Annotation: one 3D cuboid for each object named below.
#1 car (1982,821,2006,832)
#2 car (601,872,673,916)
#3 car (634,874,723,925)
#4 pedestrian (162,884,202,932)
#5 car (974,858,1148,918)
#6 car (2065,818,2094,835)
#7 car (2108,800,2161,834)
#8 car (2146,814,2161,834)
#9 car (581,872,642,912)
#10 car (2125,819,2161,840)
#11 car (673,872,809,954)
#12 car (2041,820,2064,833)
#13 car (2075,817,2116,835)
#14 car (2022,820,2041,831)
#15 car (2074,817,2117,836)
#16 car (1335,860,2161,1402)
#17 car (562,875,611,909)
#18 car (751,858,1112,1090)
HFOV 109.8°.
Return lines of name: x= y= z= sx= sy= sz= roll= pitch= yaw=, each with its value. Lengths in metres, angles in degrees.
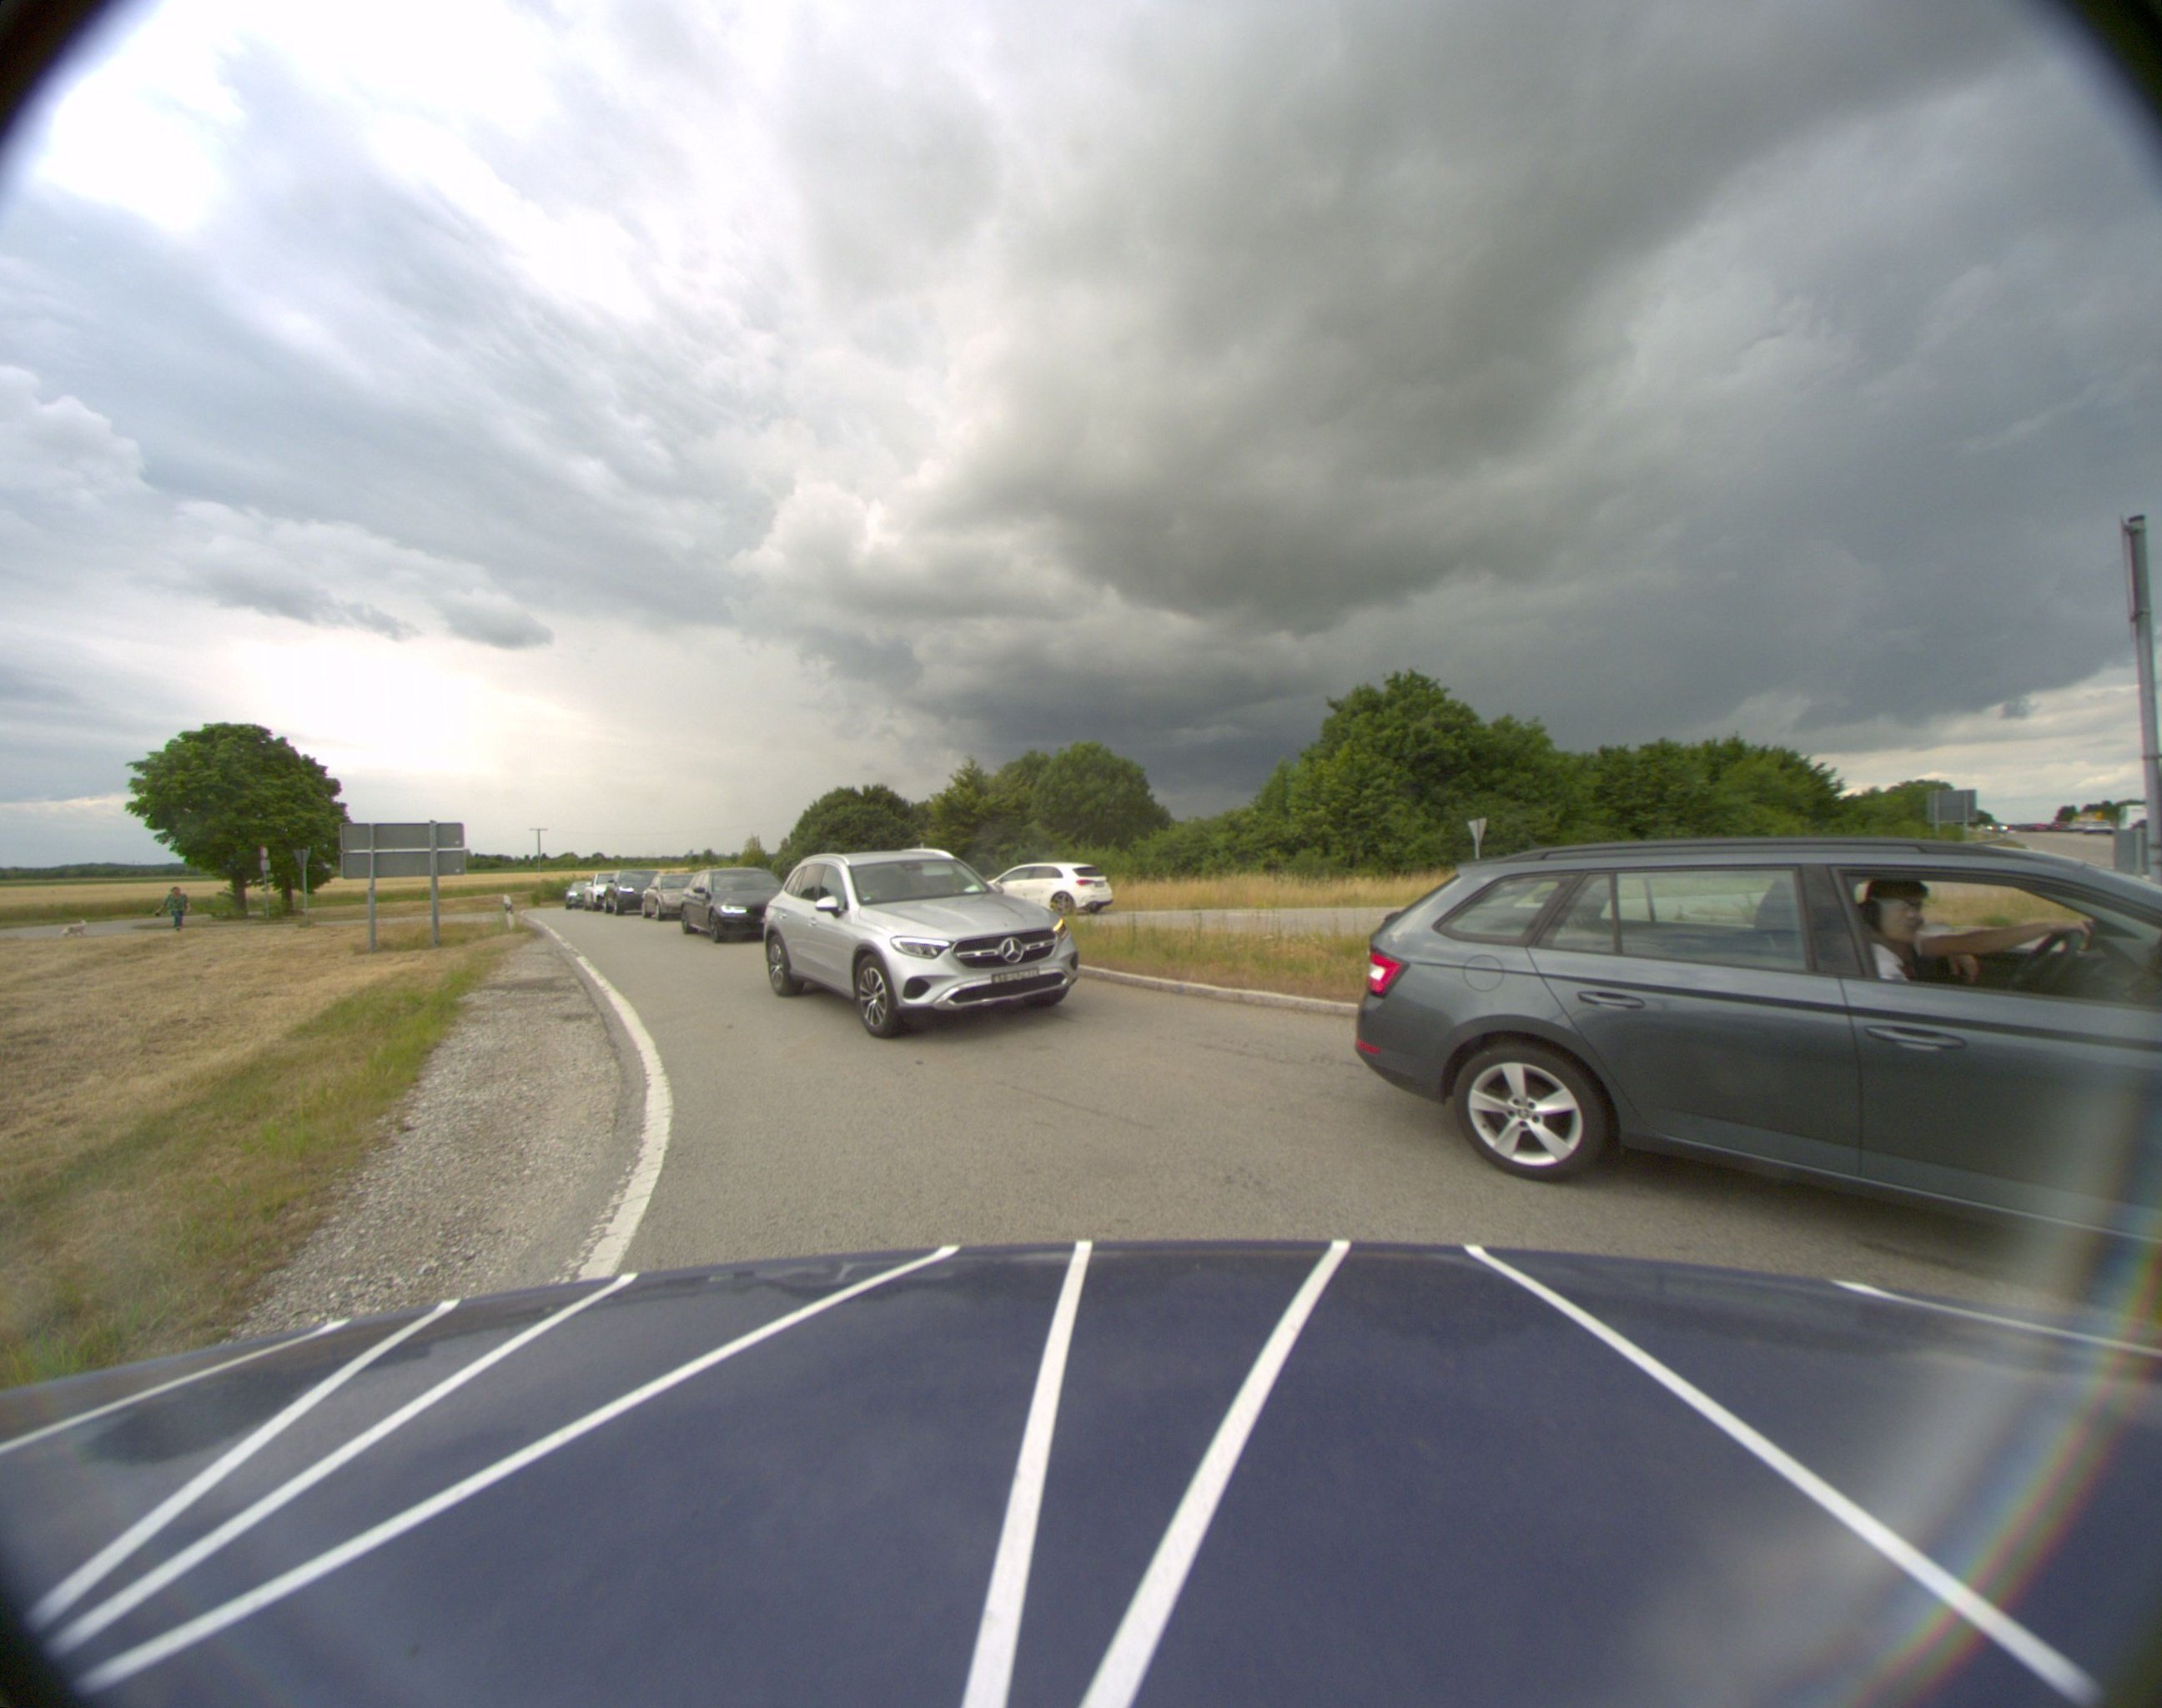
car: x=132.697 y=-3.946 z=110.457 sx=4.008 sy=1.474 sz=1.994 roll=-2 pitch=1 yaw=-42
car: x=-16.518 y=1.408 z=28.173 sx=1.725 sy=1.345 sz=4.202 roll=-4 pitch=2 yaw=-37
car: x=-12.574 y=1.341 z=23.598 sx=1.725 sy=1.345 sz=4.202 roll=-2 pitch=0 yaw=-38
pedestrian: x=-31.539 y=1.874 z=26.652 sx=0.942 sy=1.602 sz=0.775 roll=-1 pitch=1 yaw=35
car: x=-0.567 y=0.882 z=20.587 sx=4.381 sy=1.443 sz=1.775 roll=-1 pitch=1 yaw=28
car: x=124.768 y=-3.419 z=94.958 sx=4.008 sy=2.002 sz=1.792 roll=-1 pitch=0 yaw=-43
car: x=99.053 y=-3.408 z=71.430 sx=6.571 sy=3.011 sz=2.334 roll=-1 pitch=0 yaw=-42
car: x=84.299 y=-2.315 z=58.718 sx=4.008 sy=1.516 sz=1.843 roll=-1 pitch=0 yaw=-42
car: x=-20.741 y=1.620 z=33.493 sx=1.725 sy=1.486 sz=4.626 roll=-4 pitch=2 yaw=-37
car: x=90.744 y=-2.070 z=64.607 sx=4.008 sy=1.740 sz=1.853 roll=-1 pitch=1 yaw=-42
car: x=-7.506 y=1.149 z=16.491 sx=1.725 sy=1.345 sz=4.683 roll=-4 pitch=2 yaw=-35
car: x=139.930 y=-3.955 z=109.466 sx=4.008 sy=1.740 sz=1.853 roll=-1 pitch=1 yaw=-41
car: x=114.999 y=-3.109 z=86.188 sx=4.885 sy=1.911 sz=2.334 roll=-1 pitch=0 yaw=-42
car: x=160.934 y=-4.799 z=128.665 sx=4.008 sy=1.740 sz=1.853 roll=-1 pitch=1 yaw=-41
car: x=108.165 y=-2.872 z=81.083 sx=4.885 sy=1.911 sz=2.334 roll=-1 pitch=0 yaw=-42
car: x=3.353 y=0.788 z=2.949 sx=4.105 sy=1.439 sz=1.722 roll=-1 pitch=2 yaw=42
car: x=-26.045 y=1.958 z=39.963 sx=1.725 sy=1.486 sz=4.202 roll=-4 pitch=2 yaw=-37
car: x=-1.841 y=0.897 z=7.904 sx=2.000 sy=1.577 sz=4.383 roll=-4 pitch=2 yaw=-35
